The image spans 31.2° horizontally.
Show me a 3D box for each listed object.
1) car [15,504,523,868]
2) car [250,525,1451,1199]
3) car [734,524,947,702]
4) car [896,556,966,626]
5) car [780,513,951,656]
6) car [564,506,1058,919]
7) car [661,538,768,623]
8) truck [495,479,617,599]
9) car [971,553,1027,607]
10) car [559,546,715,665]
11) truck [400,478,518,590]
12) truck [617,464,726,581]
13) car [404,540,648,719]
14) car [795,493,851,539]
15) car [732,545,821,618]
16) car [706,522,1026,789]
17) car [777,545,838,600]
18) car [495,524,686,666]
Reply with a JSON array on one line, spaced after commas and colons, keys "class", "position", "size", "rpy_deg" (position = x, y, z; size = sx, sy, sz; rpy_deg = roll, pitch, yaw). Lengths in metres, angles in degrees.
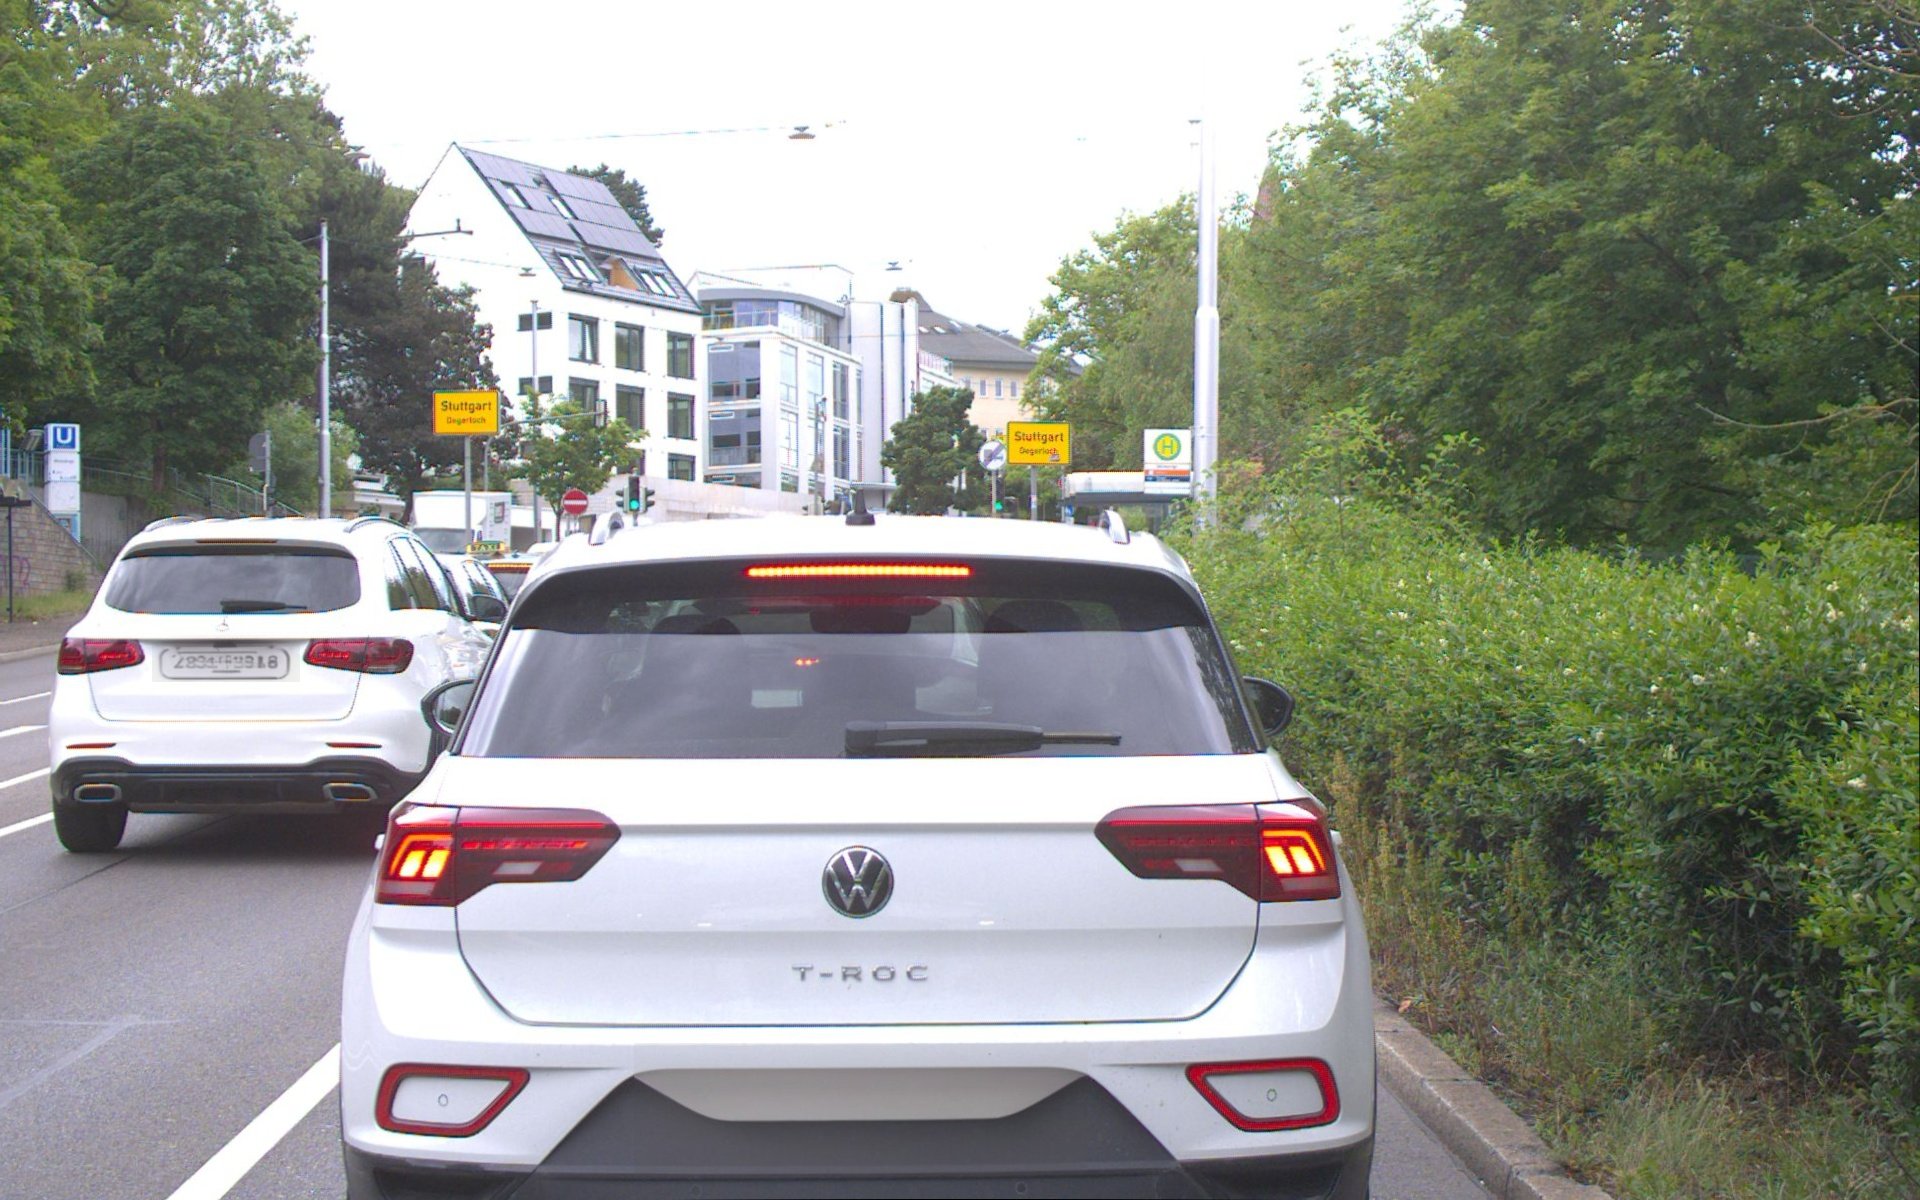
[{"class": "car", "position": [-3.438, 0.366, 17.842], "size": [1.918, 1.664, 4.000], "rpy_deg": [0, 1, -1]}, {"class": "car", "position": [-0.212, 0.618, 7.263], "size": [1.829, 1.520, 4.000], "rpy_deg": [0, 1, -1]}, {"class": "car", "position": [-1.097, 0.081, 31.996], "size": [1.829, 1.520, 4.000], "rpy_deg": [-1, 1, -1]}, {"class": "car", "position": [-0.848, -0.258, 102.367], "size": [1.993, 2.007, 4.000], "rpy_deg": [-1, 0, 0]}, {"class": "car", "position": [-1.075, -0.201, 39.334], "size": [1.829, 1.520, 4.000], "rpy_deg": [-1, 1, -1]}, {"class": "car", "position": [-0.608, 0.389, 14.922], "size": [1.829, 1.520, 4.000], "rpy_deg": [-1, 1, -1]}, {"class": "car", "position": [-4.627, -0.391, 65.201], "size": [1.829, 1.520, 4.000], "rpy_deg": [-1, 1, -1]}, {"class": "truck", "position": [-9.479, -1.441, 80.996], "size": [2.362, 2.697, 4.478], "rpy_deg": [-2, 1, -1]}, {"class": "car", "position": [1.500, -0.786, 132.660], "size": [1.993, 2.007, 4.000], "rpy_deg": [-1, 1, -1]}, {"class": "car", "position": [-4.375, 0.035, 47.008], "size": [1.829, 1.520, 4.000], "rpy_deg": [-1, 1, -1]}, {"class": "truck", "position": [-14.337, -1.868, 98.805], "size": [2.293, 3.040, 6.979], "rpy_deg": [-1, 1, 0]}, {"class": "truck", "position": [-7.144, -1.923, 85.621], "size": [2.362, 2.772, 4.478], "rpy_deg": [-2, 1, -1]}, {"class": "car", "position": [-3.952, 0.224, 31.902], "size": [1.829, 1.520, 4.000], "rpy_deg": [-1, 1, -1]}, {"class": "car", "position": [-4.638, -2.837, 116.757], "size": [1.829, 1.520, 4.000], "rpy_deg": [-1, 1, -1]}, {"class": "car", "position": [-4.021, -0.427, 75.932], "size": [1.829, 1.520, 4.000], "rpy_deg": [-1, 1, -1]}, {"class": "car", "position": [-0.596, 0.289, 21.995], "size": [1.829, 1.520, 4.000], "rpy_deg": [-1, 1, -1]}, {"class": "car", "position": [-4.803, -0.896, 108.667], "size": [1.815, 1.651, 3.929], "rpy_deg": [-2, 1, -1]}, {"class": "car", "position": [-4.189, -0.088, 39.481], "size": [1.829, 1.520, 4.000], "rpy_deg": [-1, 1, -1]}]
